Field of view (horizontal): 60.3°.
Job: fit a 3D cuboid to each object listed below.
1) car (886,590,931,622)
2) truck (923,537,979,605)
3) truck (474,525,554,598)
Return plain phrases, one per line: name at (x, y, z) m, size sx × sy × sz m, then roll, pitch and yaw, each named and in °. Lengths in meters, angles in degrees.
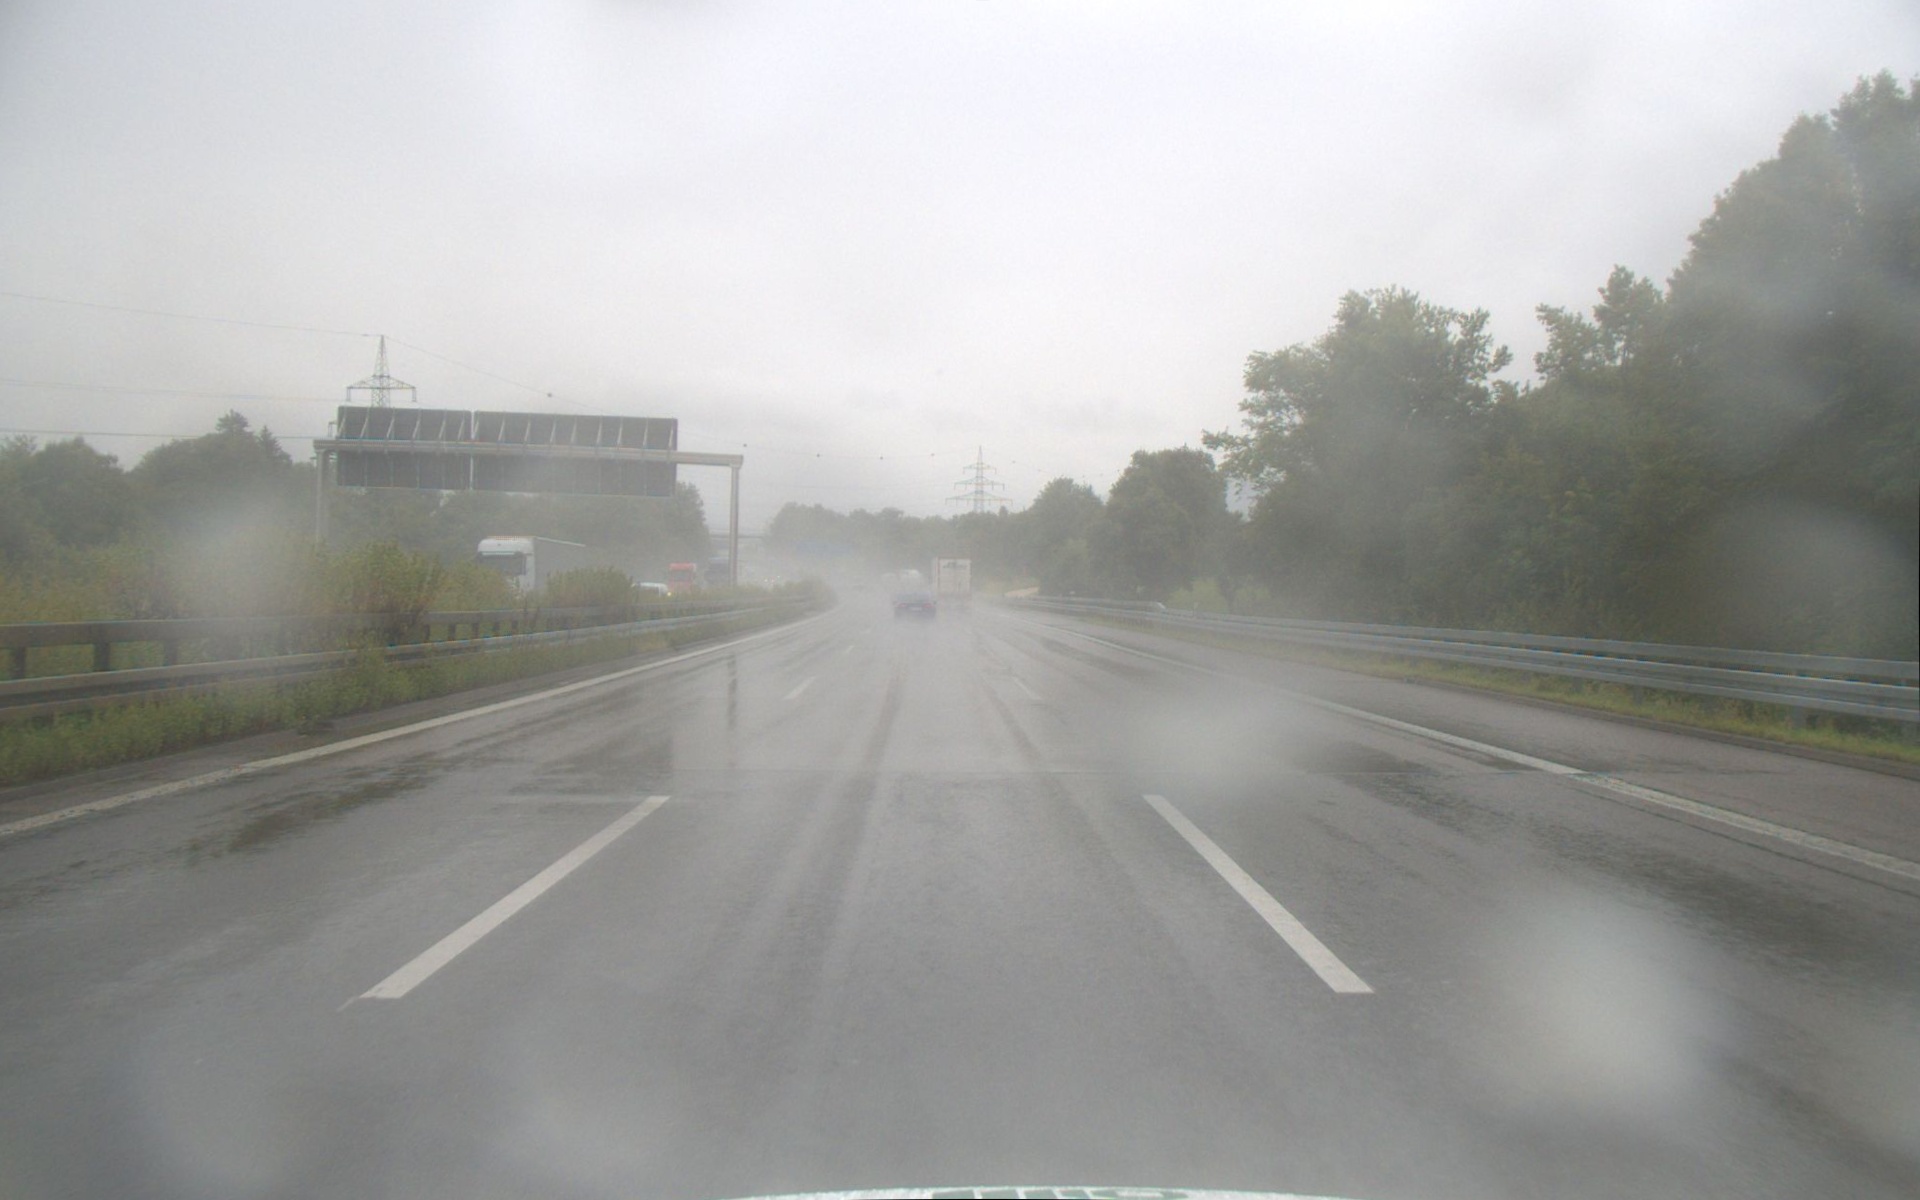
car at (-2.138, 0.241, 70.106) m, size 1.713 × 1.233 × 4.000 m, roll 3°, pitch 1°, yaw 0°
truck at (-0.751, -2.342, 132.178) m, size 4.170 × 5.058 × 17.340 m, roll -1°, pitch 1°, yaw -1°
truck at (-22.556, -1.929, 83.860) m, size 2.613 × 3.476 × 5.525 m, roll 2°, pitch 1°, yaw -2°
